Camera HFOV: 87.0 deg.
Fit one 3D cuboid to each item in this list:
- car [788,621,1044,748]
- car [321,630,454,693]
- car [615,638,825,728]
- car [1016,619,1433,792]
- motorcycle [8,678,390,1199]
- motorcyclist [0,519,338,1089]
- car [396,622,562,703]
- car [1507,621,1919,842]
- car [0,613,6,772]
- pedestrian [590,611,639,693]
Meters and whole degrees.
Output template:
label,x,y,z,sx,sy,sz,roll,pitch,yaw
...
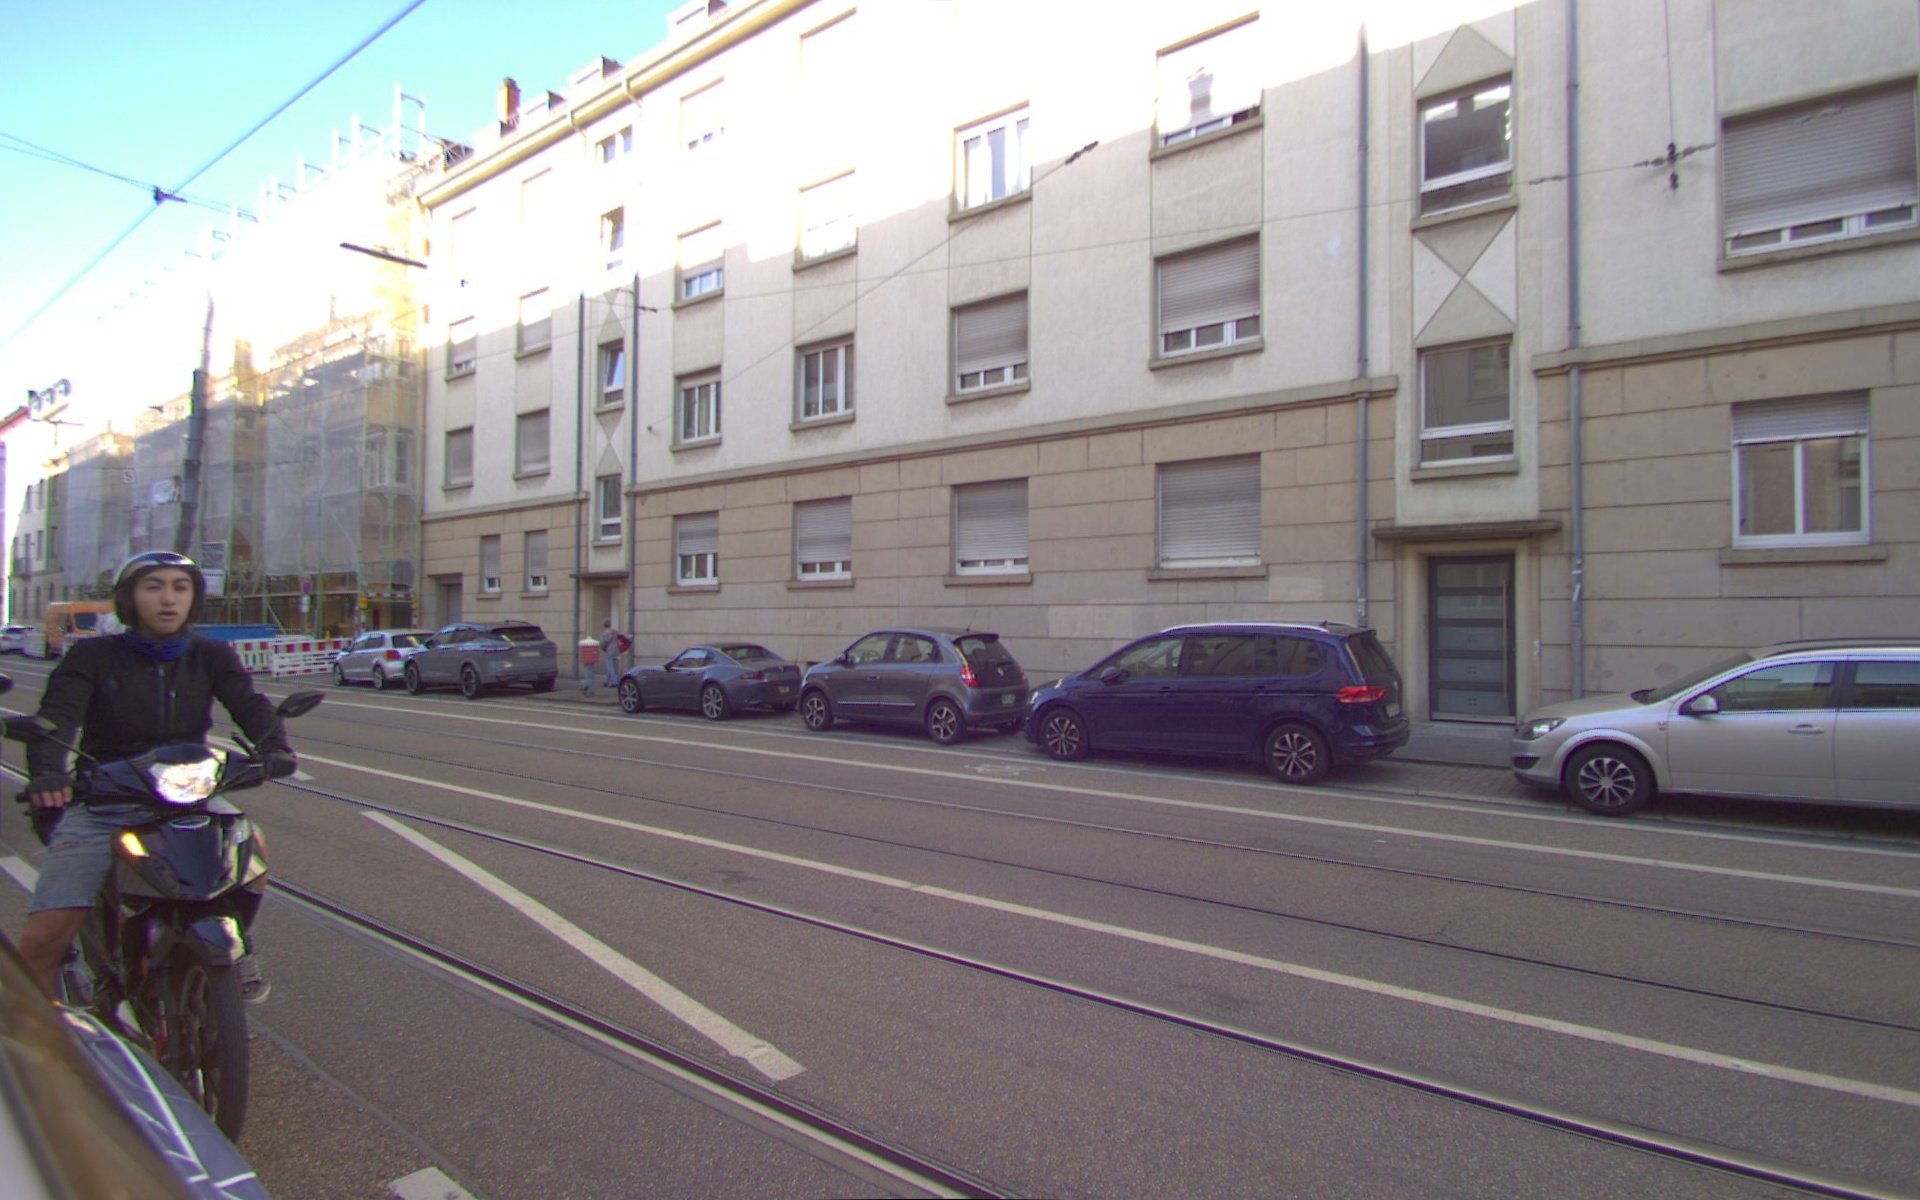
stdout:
label,x,y,z,sx,sy,sz,roll,pitch,yaw
car,-0.691,1.115,14.709,3.493,1.584,1.650,-1,0,38
car,-14.412,1.494,25.441,3.639,1.402,1.617,-1,0,37
car,-4.190,1.359,17.537,3.483,1.286,1.730,-1,0,37
car,2.951,1.048,11.706,4.285,1.597,1.887,-1,0,37
motorcycle,-2.400,0.909,3.078,1.980,1.228,0.532,-1,0,41
motorcyclist,-2.538,0.541,3.177,0.598,1.516,0.851,-1,0,41
car,-10.799,1.323,22.623,4.108,1.603,1.691,-1,0,38
car,7.228,0.990,8.529,4.358,1.571,1.975,-1,0,38
car,-8.030,0.855,6.963,3.997,1.515,1.670,-1,-3,40
pedestrian,-7.765,1.143,22.736,0.776,1.777,0.742,-1,0,41
